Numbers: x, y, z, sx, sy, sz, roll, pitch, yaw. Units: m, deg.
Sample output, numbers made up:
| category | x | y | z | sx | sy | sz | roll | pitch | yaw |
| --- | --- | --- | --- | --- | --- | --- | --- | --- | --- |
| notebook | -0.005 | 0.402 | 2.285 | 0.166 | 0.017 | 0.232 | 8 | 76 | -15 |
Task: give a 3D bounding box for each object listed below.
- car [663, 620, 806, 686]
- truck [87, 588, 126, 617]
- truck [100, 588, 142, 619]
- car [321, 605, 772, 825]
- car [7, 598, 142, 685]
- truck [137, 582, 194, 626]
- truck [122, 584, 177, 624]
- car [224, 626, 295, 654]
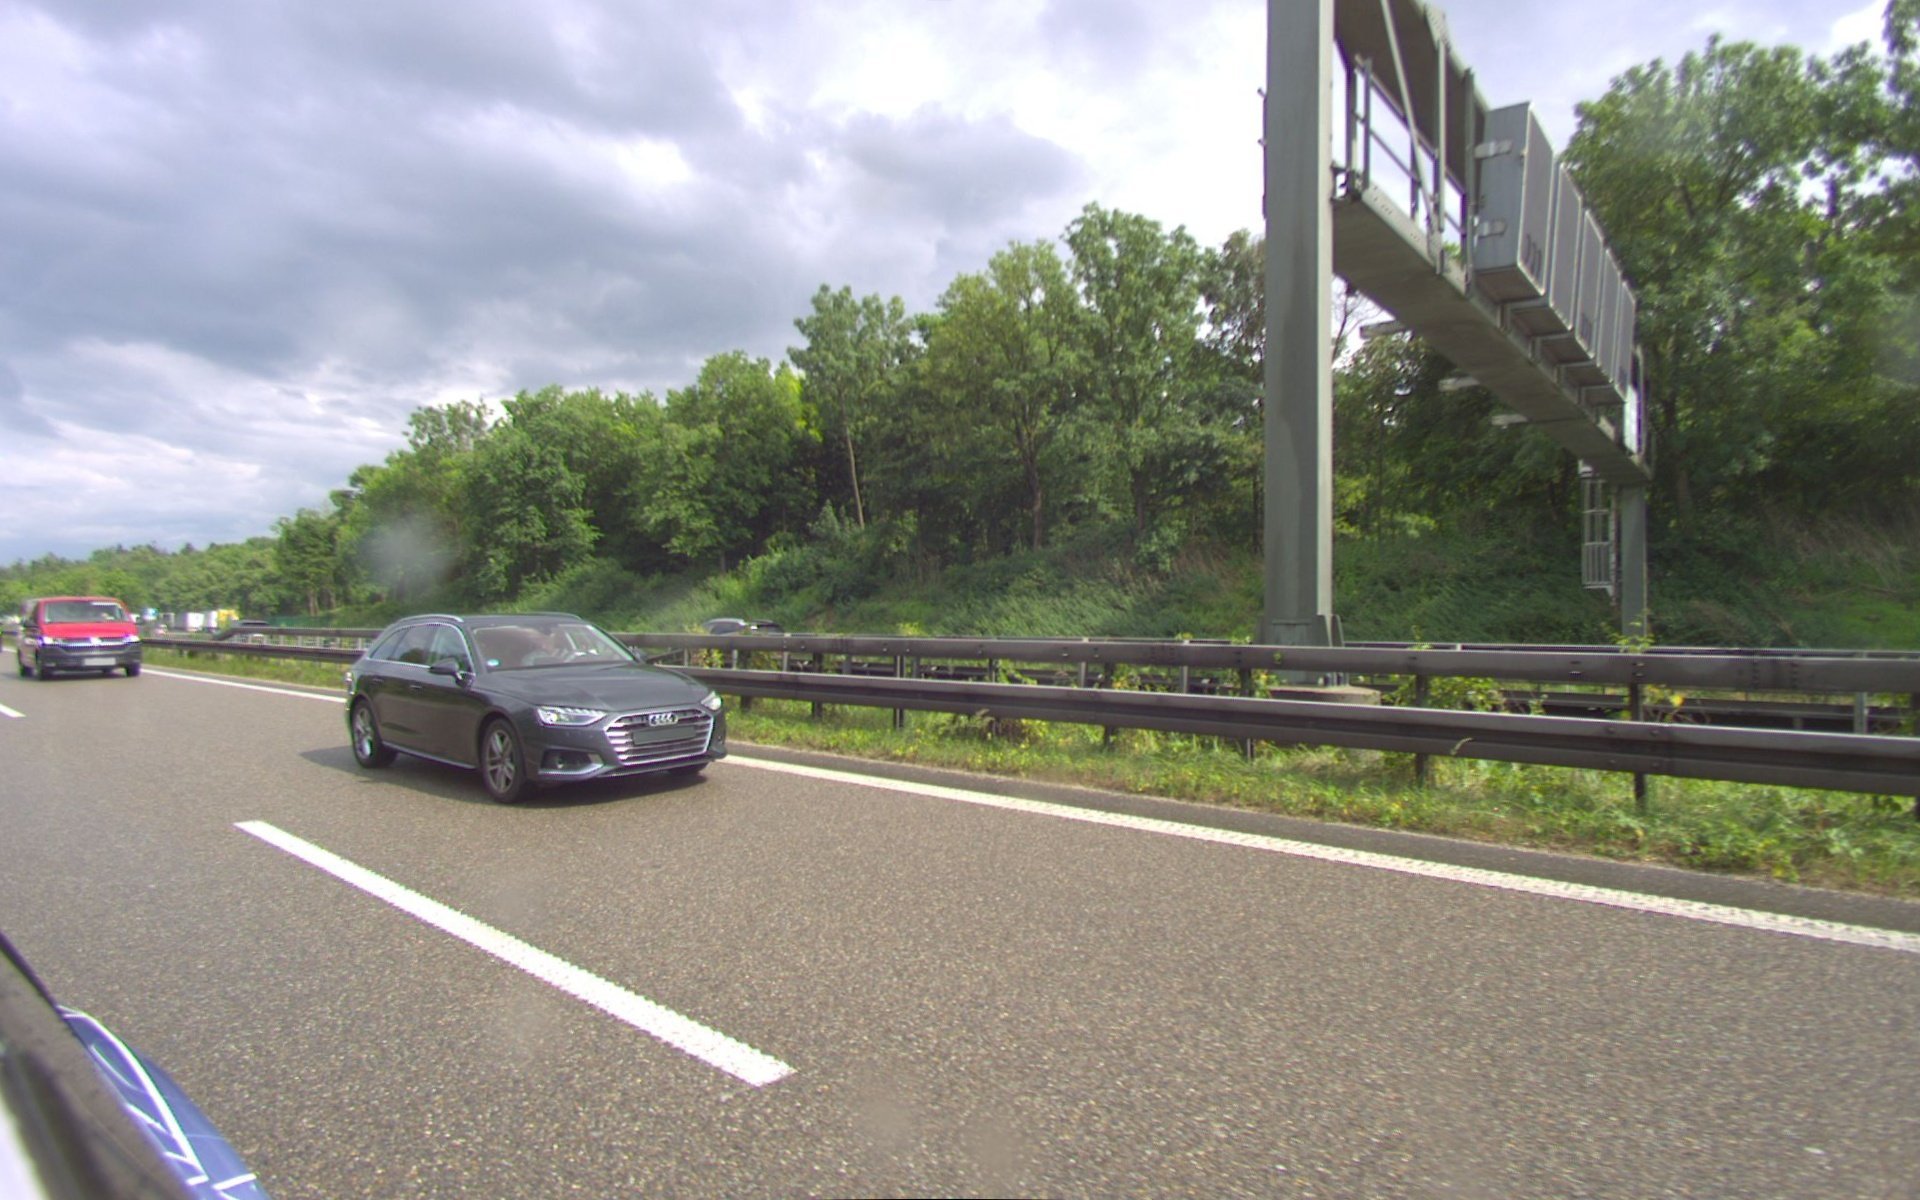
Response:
| category | x | y | z | sx | sy | sz | roll | pitch | yaw |
| --- | --- | --- | --- | --- | --- | --- | --- | --- | --- |
| car | -6.482 | 1.447 | 28.886 | 4.234 | 1.675 | 1.835 | -1 | 0 | 41 |
| truck | -145.985 | 0.430 | 173.056 | 11.873 | 4.756 | 3.575 | -1 | 0 | 43 |
| truck | -133.008 | 0.530 | 160.458 | 11.873 | 4.756 | 3.575 | -1 | 0 | 43 |
| car | -3.876 | 0.781 | 8.963 | 4.838 | 1.429 | 1.775 | -1 | 0 | 42 |
| car | -21.544 | 0.929 | 24.556 | 4.838 | 1.880 | 1.901 | -1 | 0 | 42 |
| truck | -90.392 | 0.440 | 115.111 | 9.802 | 4.756 | 3.575 | -1 | 0 | 43 |
| truck | -99.725 | 0.539 | 124.458 | 11.873 | 4.756 | 3.575 | -1 | 0 | 43 |
| car | -32.351 | 1.829 | 46.719 | 3.999 | 1.136 | 1.807 | -1 | 0 | 42 |
